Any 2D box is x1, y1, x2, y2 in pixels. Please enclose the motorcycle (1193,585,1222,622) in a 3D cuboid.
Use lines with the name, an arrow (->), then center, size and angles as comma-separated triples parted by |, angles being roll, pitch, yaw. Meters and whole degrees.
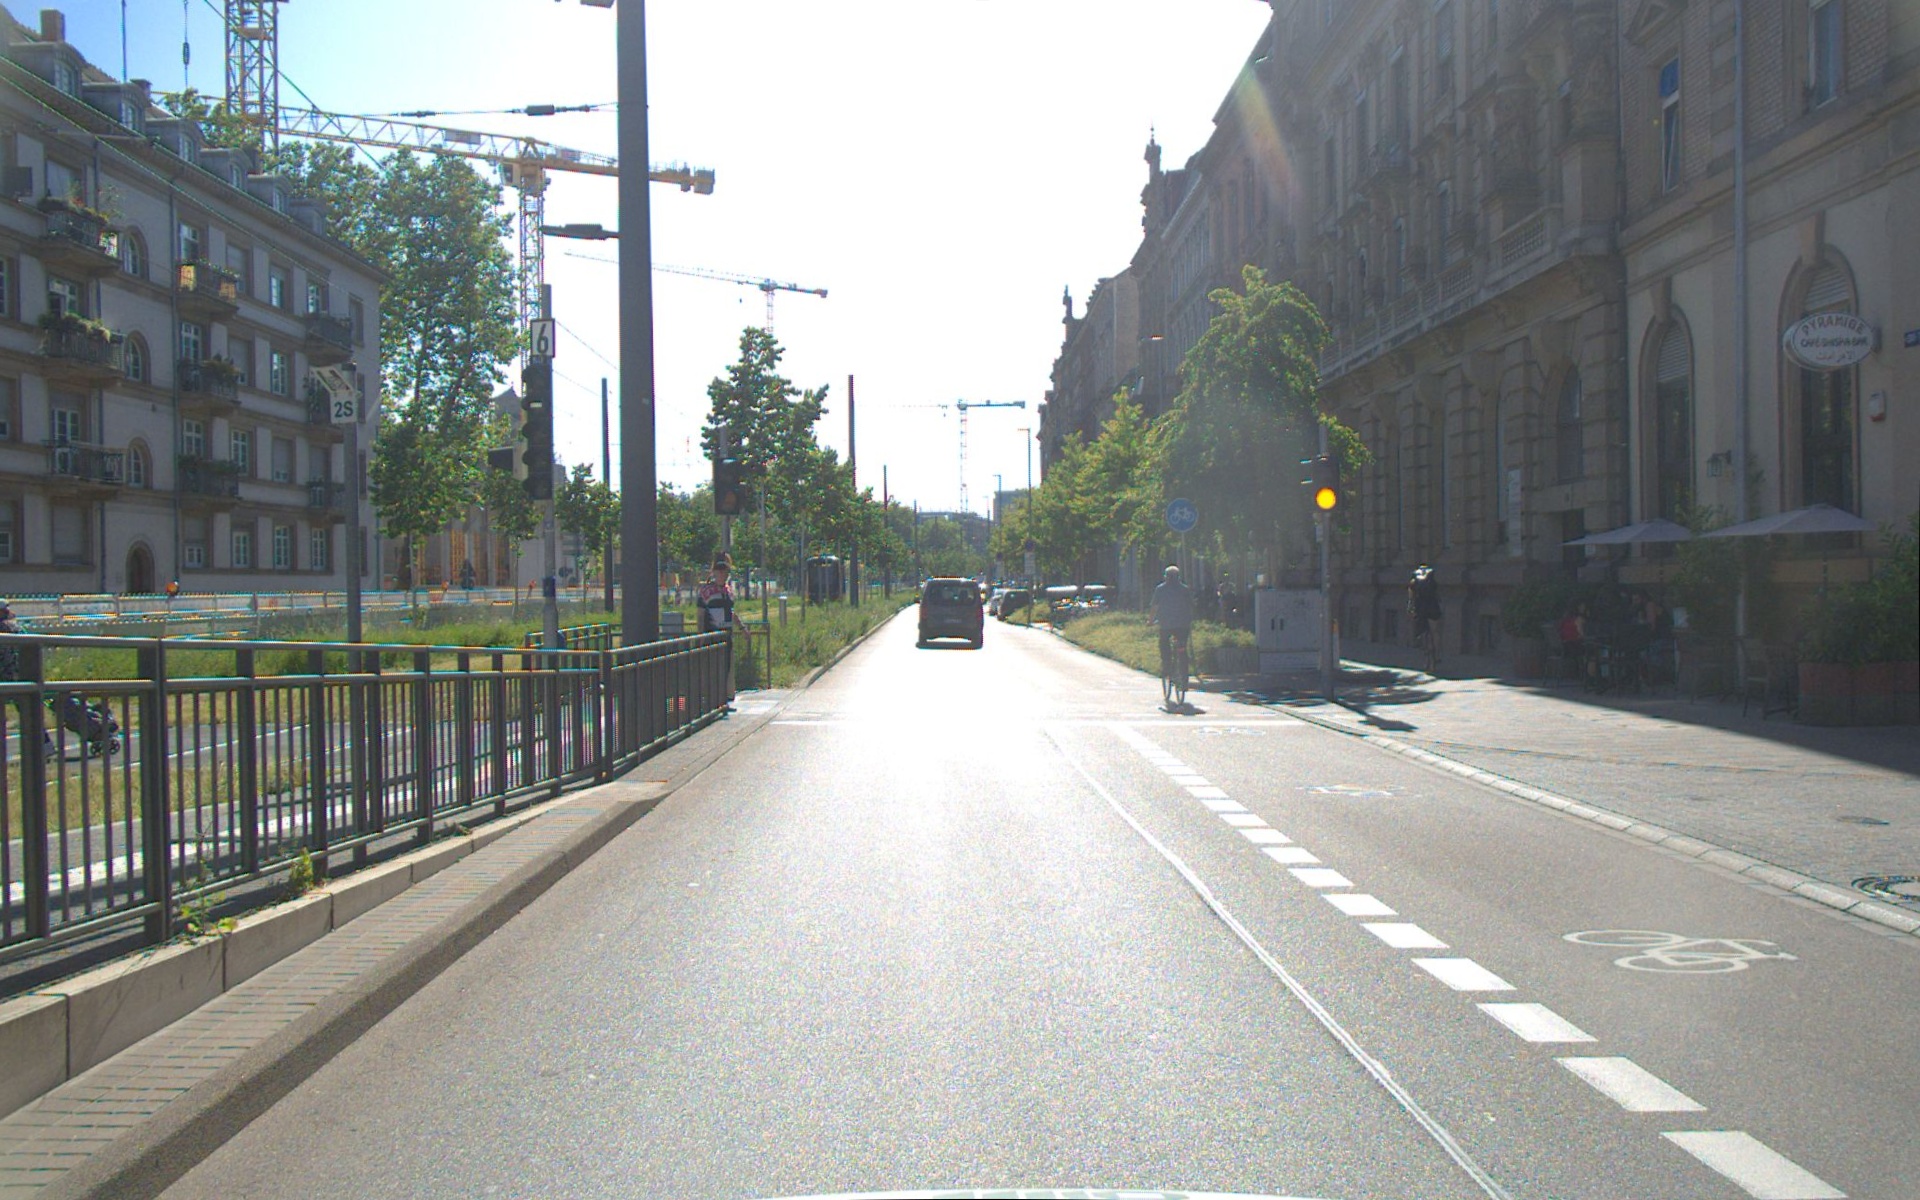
motorcycle -> 8.923, 0.123, 59.593 | 0.686, 1.289, 1.981 | -1, 1, -1

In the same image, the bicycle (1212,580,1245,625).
bicycle -> 7.573, 0.061, 46.708 | 0.571, 1.244, 1.899 | -1, 1, -1

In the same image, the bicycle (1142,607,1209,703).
bicycle -> 2.888, 0.719, 22.299 | 0.589, 1.201, 1.868 | 1, 0, -2

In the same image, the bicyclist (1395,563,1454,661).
bicyclist -> 7.668, 0.190, 27.337 | 0.647, 1.556, 0.801 | -5, 0, 3

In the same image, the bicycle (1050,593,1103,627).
bicycle -> 4.175, 0.357, 59.280 | 1.757, 1.048, 0.527 | -5, 0, -2

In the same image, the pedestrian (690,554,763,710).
pedestrian -> -2.797, 0.370, 19.862 | 0.848, 1.819, 0.969 | 0, 0, -8

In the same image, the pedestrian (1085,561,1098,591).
pedestrian -> 7.276, -1.340, 91.514 | 0.601, 1.640, 0.668 | -1, 0, -1

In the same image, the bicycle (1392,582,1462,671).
bicycle -> 7.716, 0.414, 27.402 | 0.602, 1.353, 1.901 | -5, 1, 3

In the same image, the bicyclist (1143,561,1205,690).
bicyclist -> 2.886, 0.335, 22.337 | 0.670, 1.702, 0.922 | 1, 0, -2

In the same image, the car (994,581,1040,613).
car -> 2.811, -0.152, 82.481 | 1.987, 1.525, 4.653 | -1, 0, -1

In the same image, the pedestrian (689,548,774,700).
pedestrian -> -2.990, 0.307, 21.674 | 1.055, 1.942, 0.652 | -1, 0, -8

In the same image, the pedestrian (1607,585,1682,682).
pedestrian -> 9.246, 0.439, 22.349 | 0.691, 1.258, 0.635 | -3, 0, -2

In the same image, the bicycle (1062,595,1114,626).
bicycle -> 4.484, 0.380, 57.846 | 1.756, 1.048, 0.527 | -1, 0, -2

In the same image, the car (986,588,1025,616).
car -> 2.596, 0.119, 94.985 | 1.987, 1.525, 4.529 | -1, 0, -1

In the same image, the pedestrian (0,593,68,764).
pedestrian -> -9.009, 0.713, 15.557 | 0.796, 1.563, 0.798 | 0, 0, 0

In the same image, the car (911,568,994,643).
car -> -0.255, 0.134, 46.230 | 2.155, 1.960, 4.653 | -1, 0, -1

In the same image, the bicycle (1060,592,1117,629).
bicycle -> 4.259, 0.344, 54.802 | 1.757, 1.048, 0.527 | -5, 0, -2

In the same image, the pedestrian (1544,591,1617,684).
pedestrian -> 8.372, 0.499, 22.320 | 0.691, 1.198, 0.635 | -3, 0, -2

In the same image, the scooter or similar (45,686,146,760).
scooter or similar -> -8.254, 1.171, 15.807 | 0.692, 0.662, 0.516 | 0, 0, 0

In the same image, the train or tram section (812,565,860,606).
train or tram section -> -8.750, -0.994, 117.689 | 2.700, 2.791, 9.862 | 1, 0, 0

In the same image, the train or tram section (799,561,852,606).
train or tram section -> -8.701, -1.025, 107.843 | 2.700, 2.791, 9.862 | 1, 0, 0

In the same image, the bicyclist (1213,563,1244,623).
bicyclist -> 7.572, -0.201, 46.661 | 0.653, 1.668, 0.960 | -1, 0, -1

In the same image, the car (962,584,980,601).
car -> 1.217, -0.839, 189.728 | 1.953, 1.870, 3.999 | 1, 0, -1

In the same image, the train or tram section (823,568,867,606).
train or tram section -> -8.809, -0.963, 127.529 | 2.700, 2.791, 9.862 | 1, 0, 0
